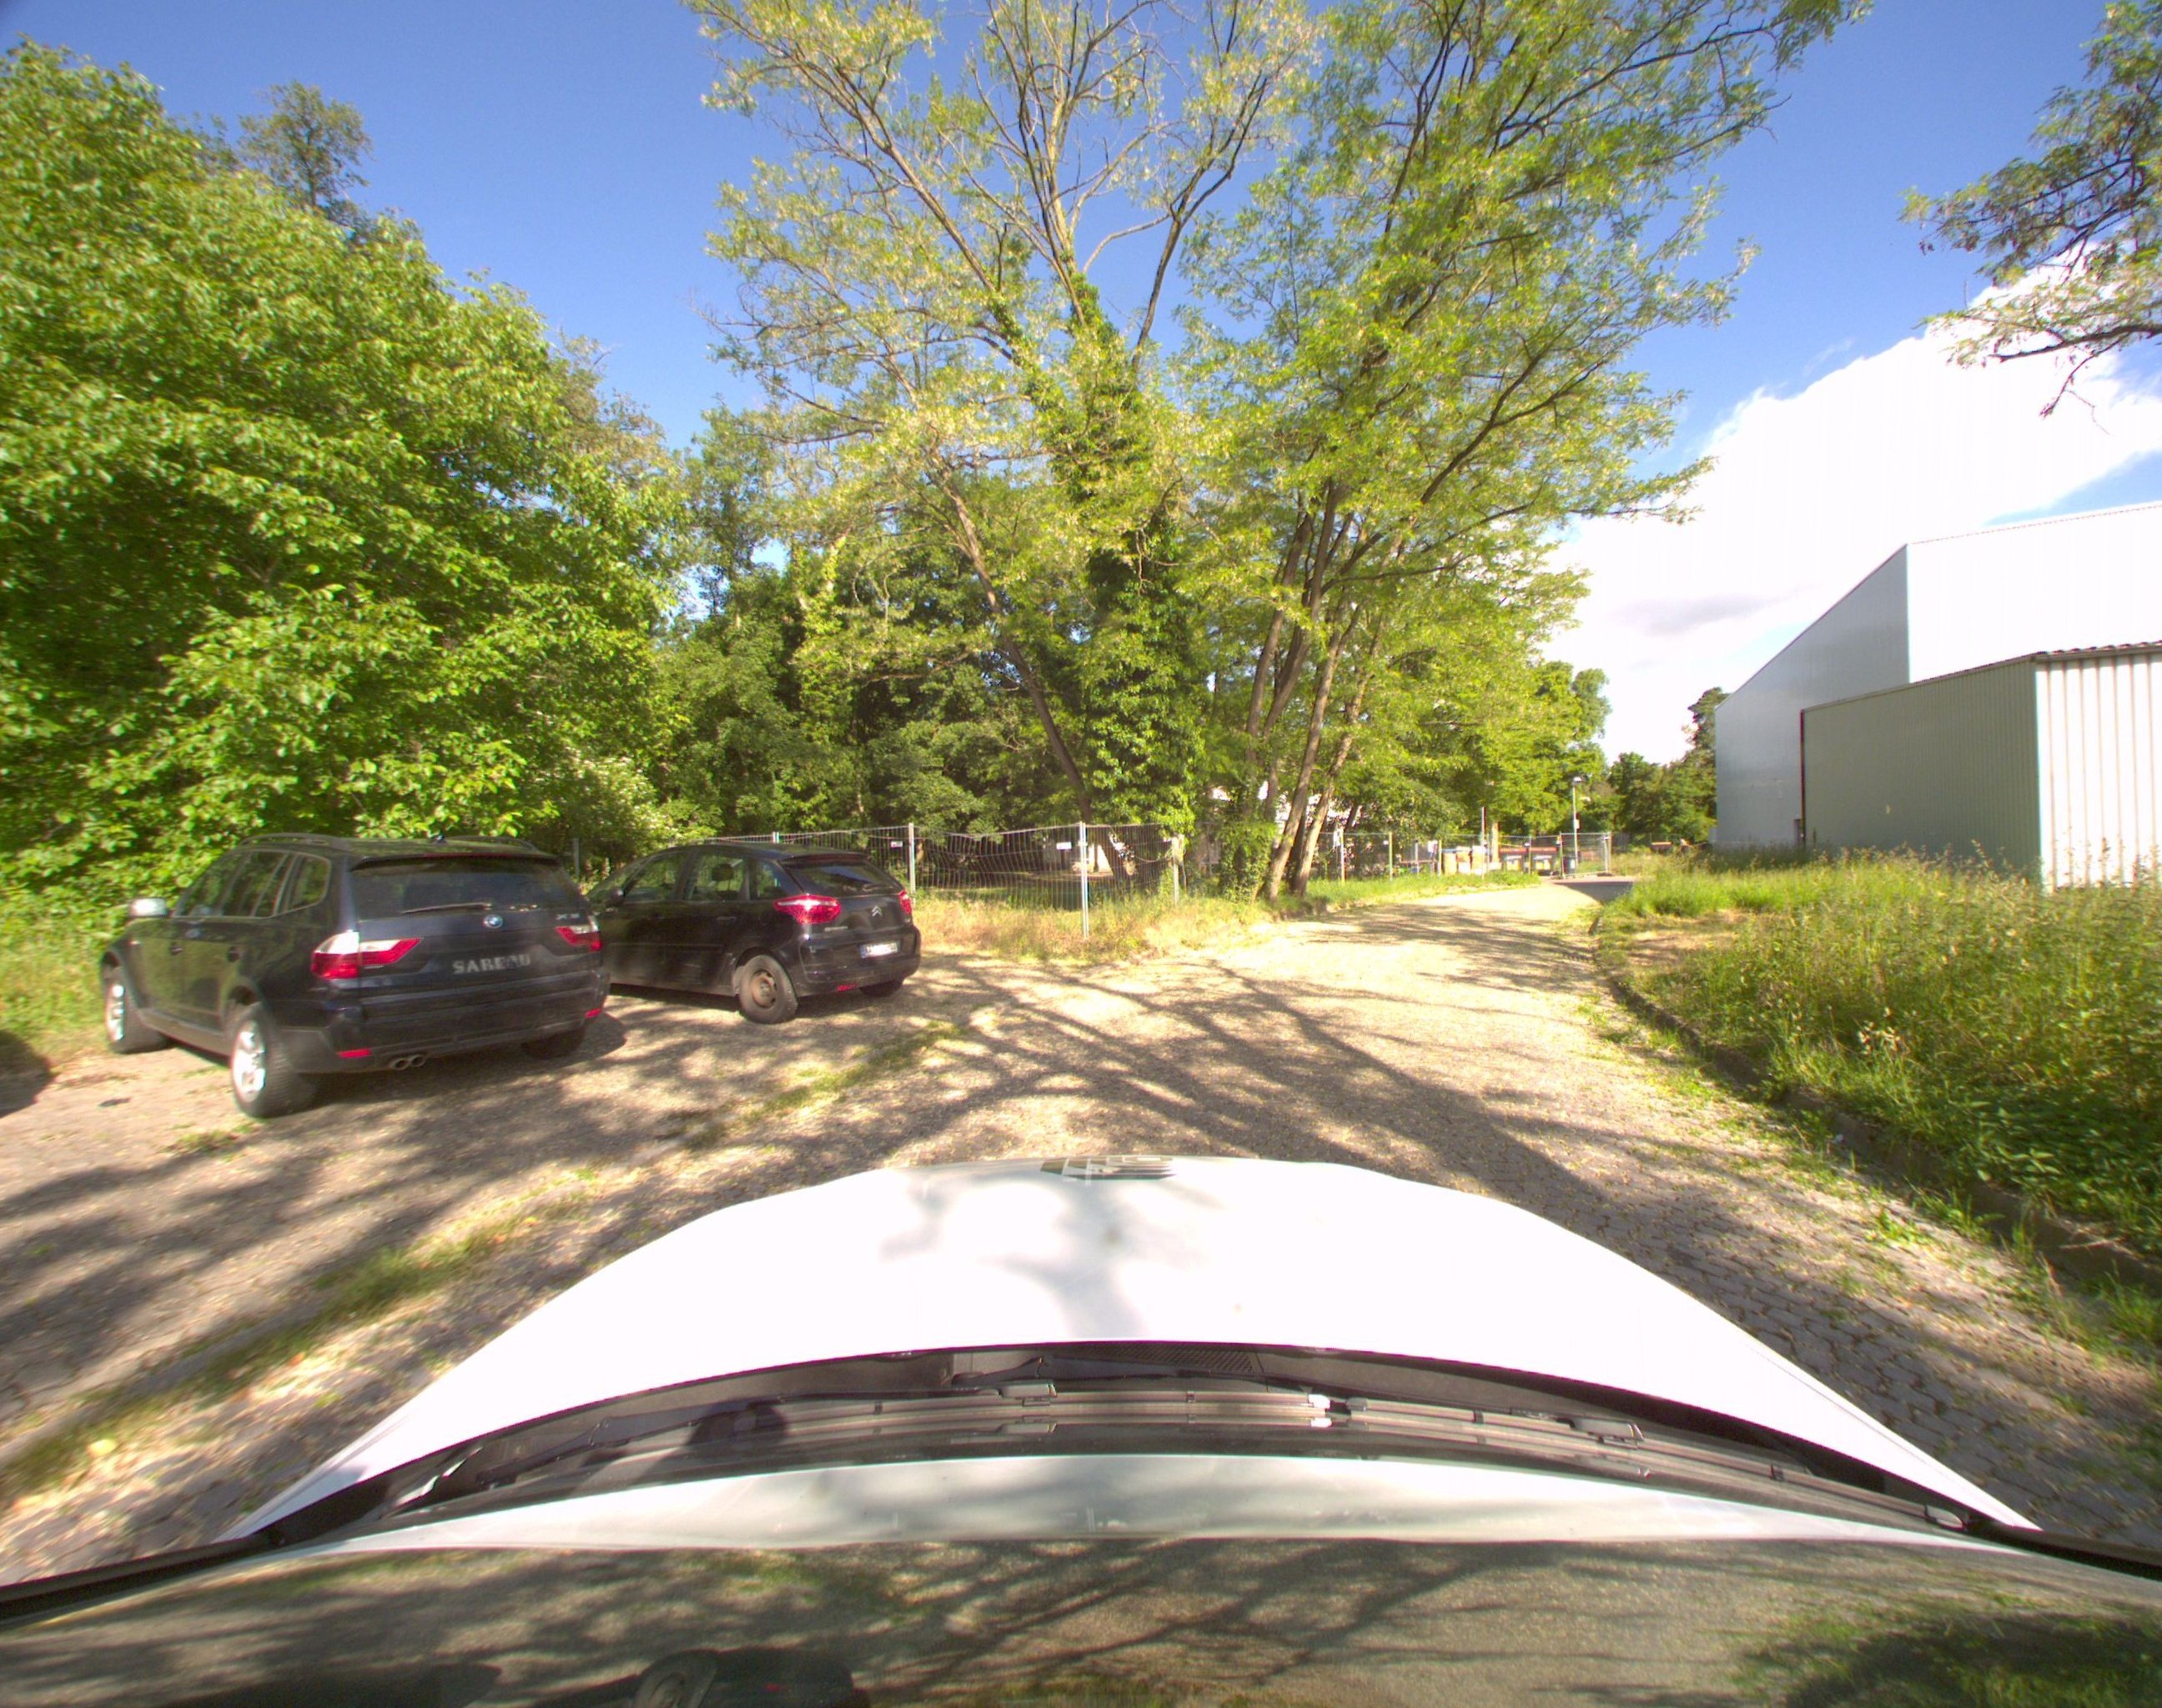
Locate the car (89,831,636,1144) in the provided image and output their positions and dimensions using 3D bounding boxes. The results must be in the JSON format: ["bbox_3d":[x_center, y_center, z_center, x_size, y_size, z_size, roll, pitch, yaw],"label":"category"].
[{"bbox_3d":[-5.468,0.674,6.115,4.137,1.656,1.829,1,1,30],"label":"car"}]

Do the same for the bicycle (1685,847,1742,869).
[{"bbox_3d":[37.574,0.249,48.432,2.605,1.266,1.148,-1,0,35],"label":"bicycle"}]

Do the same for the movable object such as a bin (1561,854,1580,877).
[{"bbox_3d":[24.254,0.561,40.353,0.729,1.097,0.824,-1,0,34],"label":"movable object such as a bin"}]

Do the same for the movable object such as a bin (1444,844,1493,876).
[{"bbox_3d":[20.213,0.305,42.488,2.267,1.591,1.181,-1,0,25],"label":"movable object such as a bin"}]

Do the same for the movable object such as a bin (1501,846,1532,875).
[{"bbox_3d":[22.257,0.328,41.645,1.325,1.484,0.811,-1,0,24],"label":"movable object such as a bin"}]

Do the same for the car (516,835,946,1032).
[{"bbox_3d":[-3.768,0.659,8.731,4.248,1.652,1.803,1,1,24],"label":"car"}]

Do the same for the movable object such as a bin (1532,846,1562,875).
[{"bbox_3d":[23.361,0.336,40.883,1.233,1.444,0.707,-1,0,25],"label":"movable object such as a bin"}]
